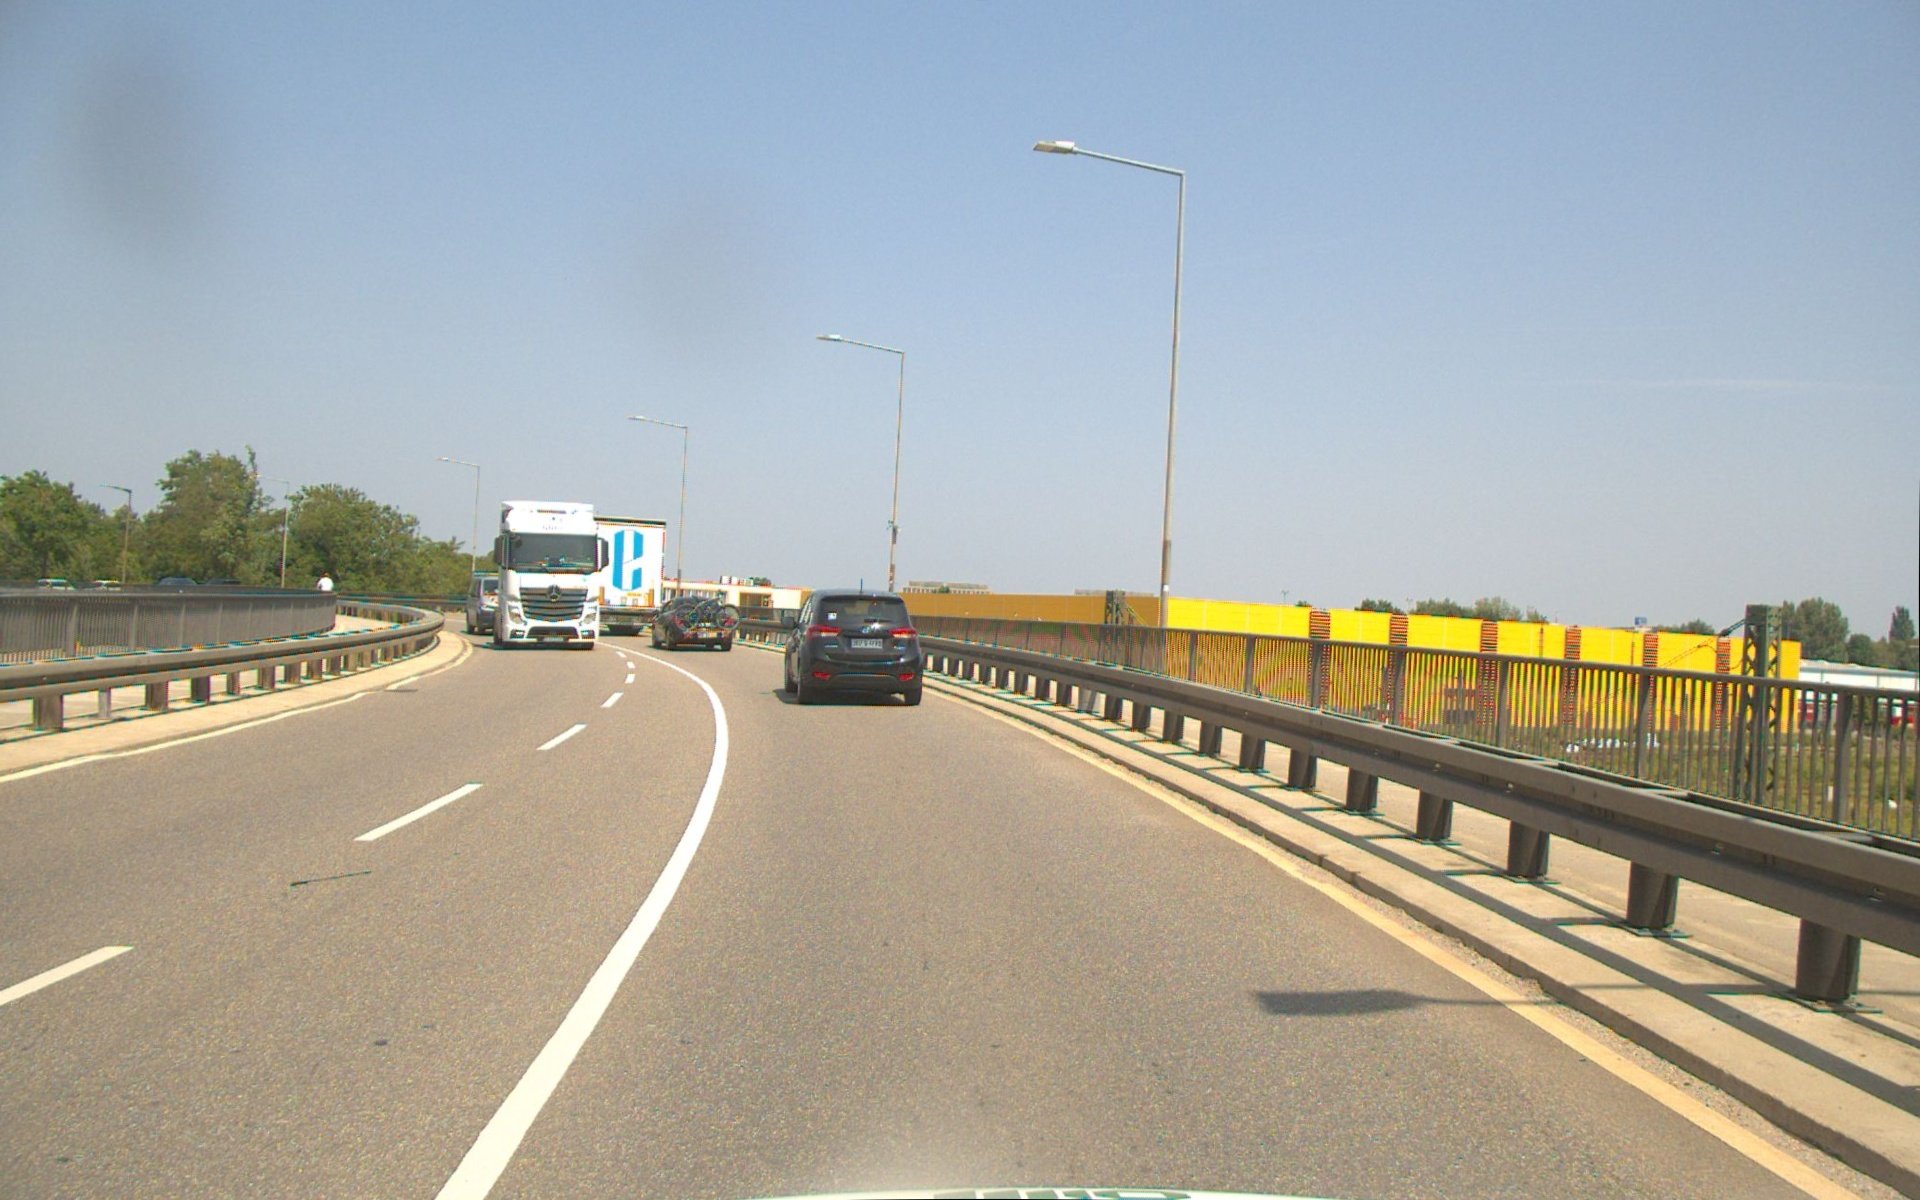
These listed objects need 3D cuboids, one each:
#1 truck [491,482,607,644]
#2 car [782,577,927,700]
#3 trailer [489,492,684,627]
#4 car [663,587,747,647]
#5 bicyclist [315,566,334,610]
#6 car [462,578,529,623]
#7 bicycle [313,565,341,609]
[{"bbox_3d":[-11.354,-0.991,45.359,2.663,4.061,6.157,2,1,-17],"label":"truck"},{"bbox_3d":[-1.631,0.500,24.344,1.885,1.601,3.886,2,1,-7],"label":"car"},{"bbox_3d":[-13.958,-1.489,60.805,3.534,4.460,11.320,2,1,-31],"label":"trailer"},{"bbox_3d":[-6.939,0.423,44.748,1.976,1.454,3.765,2,1,-13],"label":"car"},{"bbox_3d":[-28.016,-0.538,72.892,0.618,1.919,0.704,2,0,-32],"label":"bicyclist"},{"bbox_3d":[-15.719,0.001,55.908,1.540,1.410,3.586,2,1,-26],"label":"car"},{"bbox_3d":[-27.710,-0.583,72.358,0.691,1.833,2.157,2,1,-32],"label":"bicycle"}]
